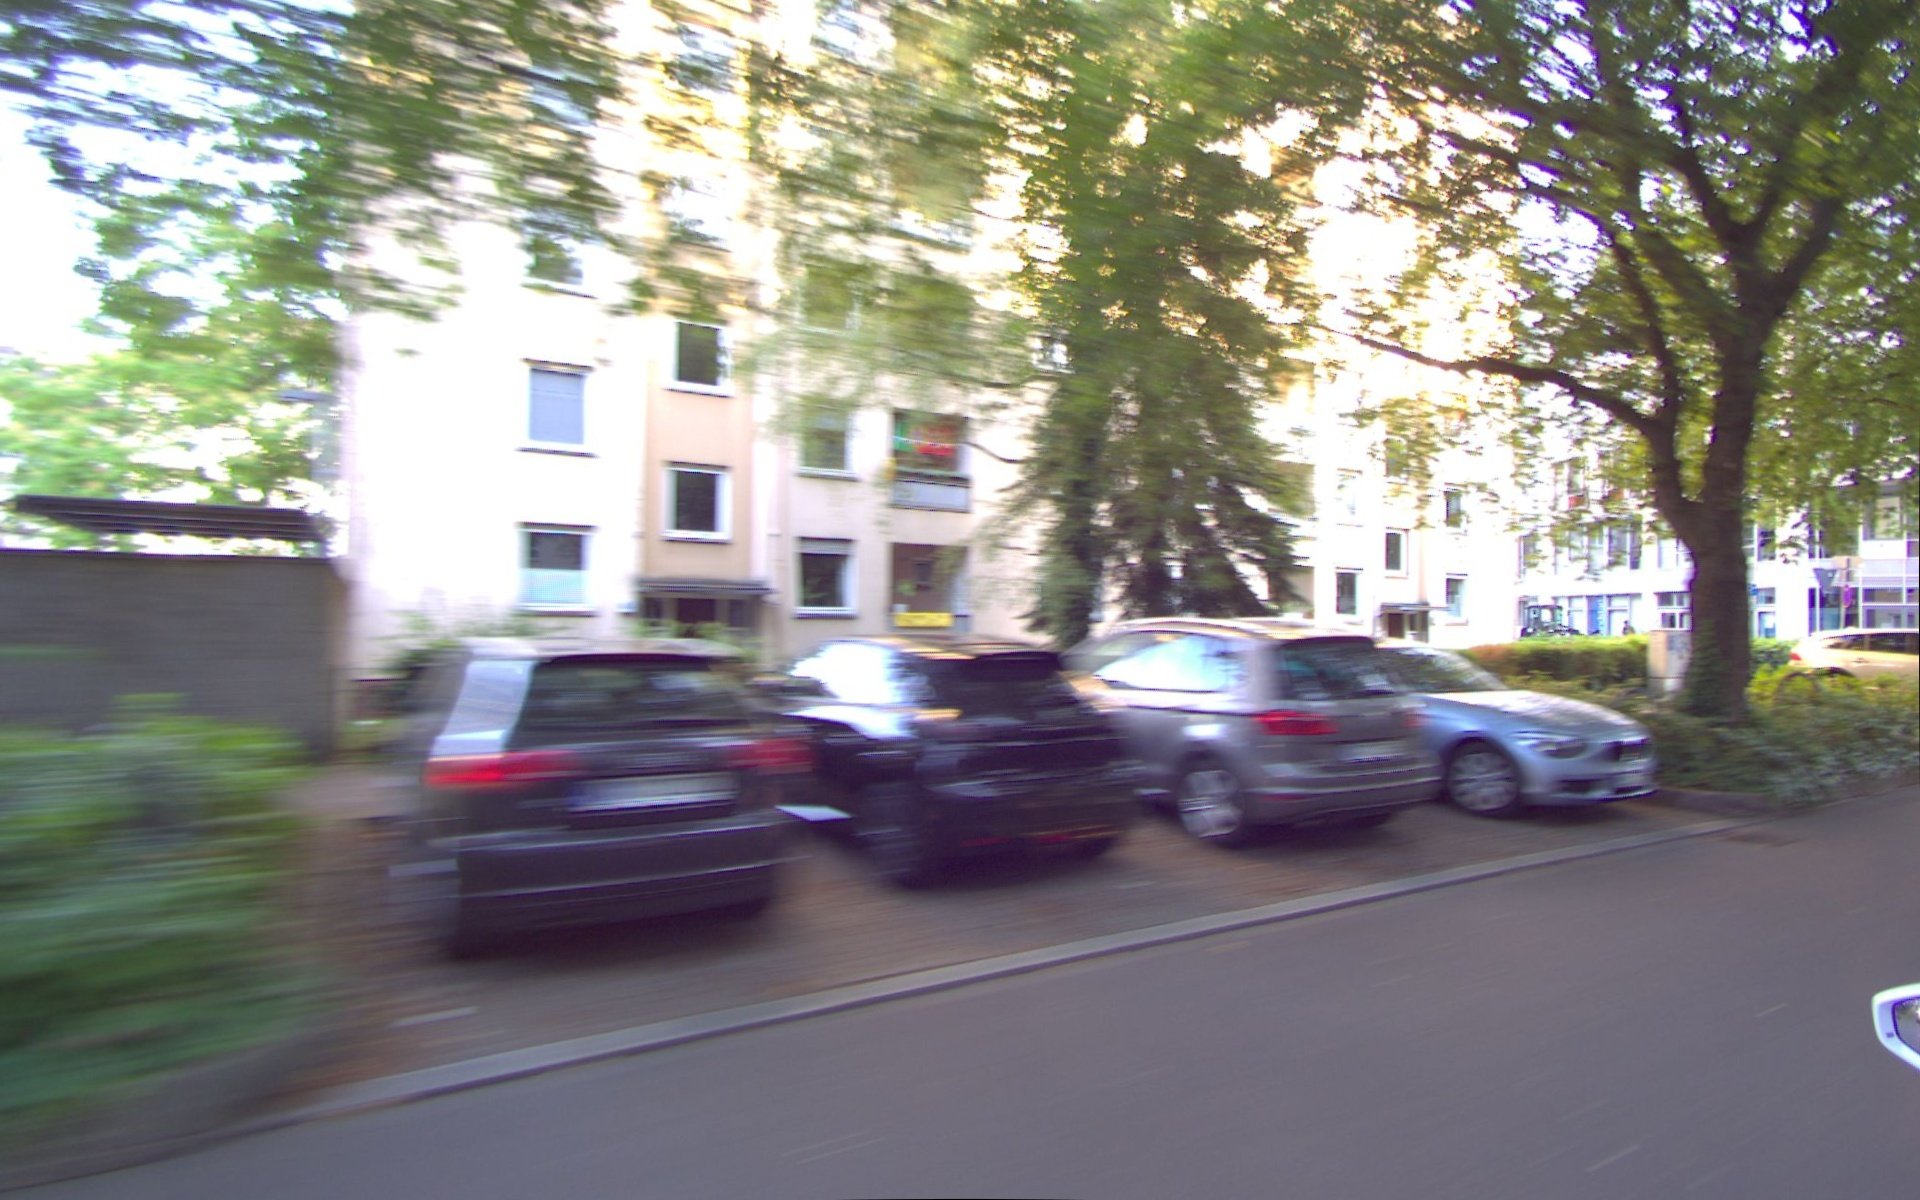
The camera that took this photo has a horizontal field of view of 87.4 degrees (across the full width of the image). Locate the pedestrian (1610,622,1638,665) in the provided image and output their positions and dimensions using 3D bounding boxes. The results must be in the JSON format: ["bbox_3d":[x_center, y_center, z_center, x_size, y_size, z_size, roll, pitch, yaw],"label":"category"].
[{"bbox_3d":[28.888,1.881,43.709,0.873,1.875,0.876,0,-1,23],"label":"pedestrian"}]

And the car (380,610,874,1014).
[{"bbox_3d":[-2.244,0.825,5.904,1.901,1.483,3.966,1,-1,-32],"label":"car"}]

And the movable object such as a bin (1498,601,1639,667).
[{"bbox_3d":[26.803,1.474,44.550,2.243,2.728,5.640,0,-1,-10],"label":"movable object such as a bin"}]

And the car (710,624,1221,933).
[{"bbox_3d":[-0.255,0.940,7.165,1.806,1.510,3.965,1,-1,-32],"label":"car"}]

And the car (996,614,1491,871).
[{"bbox_3d":[2.046,0.930,8.449,1.903,1.586,3.975,1,-1,-25],"label":"car"}]

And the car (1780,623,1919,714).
[{"bbox_3d":[17.686,1.218,17.699,2.049,1.573,4.601,1,-1,-28],"label":"car"}]

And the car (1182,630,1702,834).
[{"bbox_3d":[4.310,1.043,9.718,1.857,1.448,4.267,1,-1,-30],"label":"car"}]
